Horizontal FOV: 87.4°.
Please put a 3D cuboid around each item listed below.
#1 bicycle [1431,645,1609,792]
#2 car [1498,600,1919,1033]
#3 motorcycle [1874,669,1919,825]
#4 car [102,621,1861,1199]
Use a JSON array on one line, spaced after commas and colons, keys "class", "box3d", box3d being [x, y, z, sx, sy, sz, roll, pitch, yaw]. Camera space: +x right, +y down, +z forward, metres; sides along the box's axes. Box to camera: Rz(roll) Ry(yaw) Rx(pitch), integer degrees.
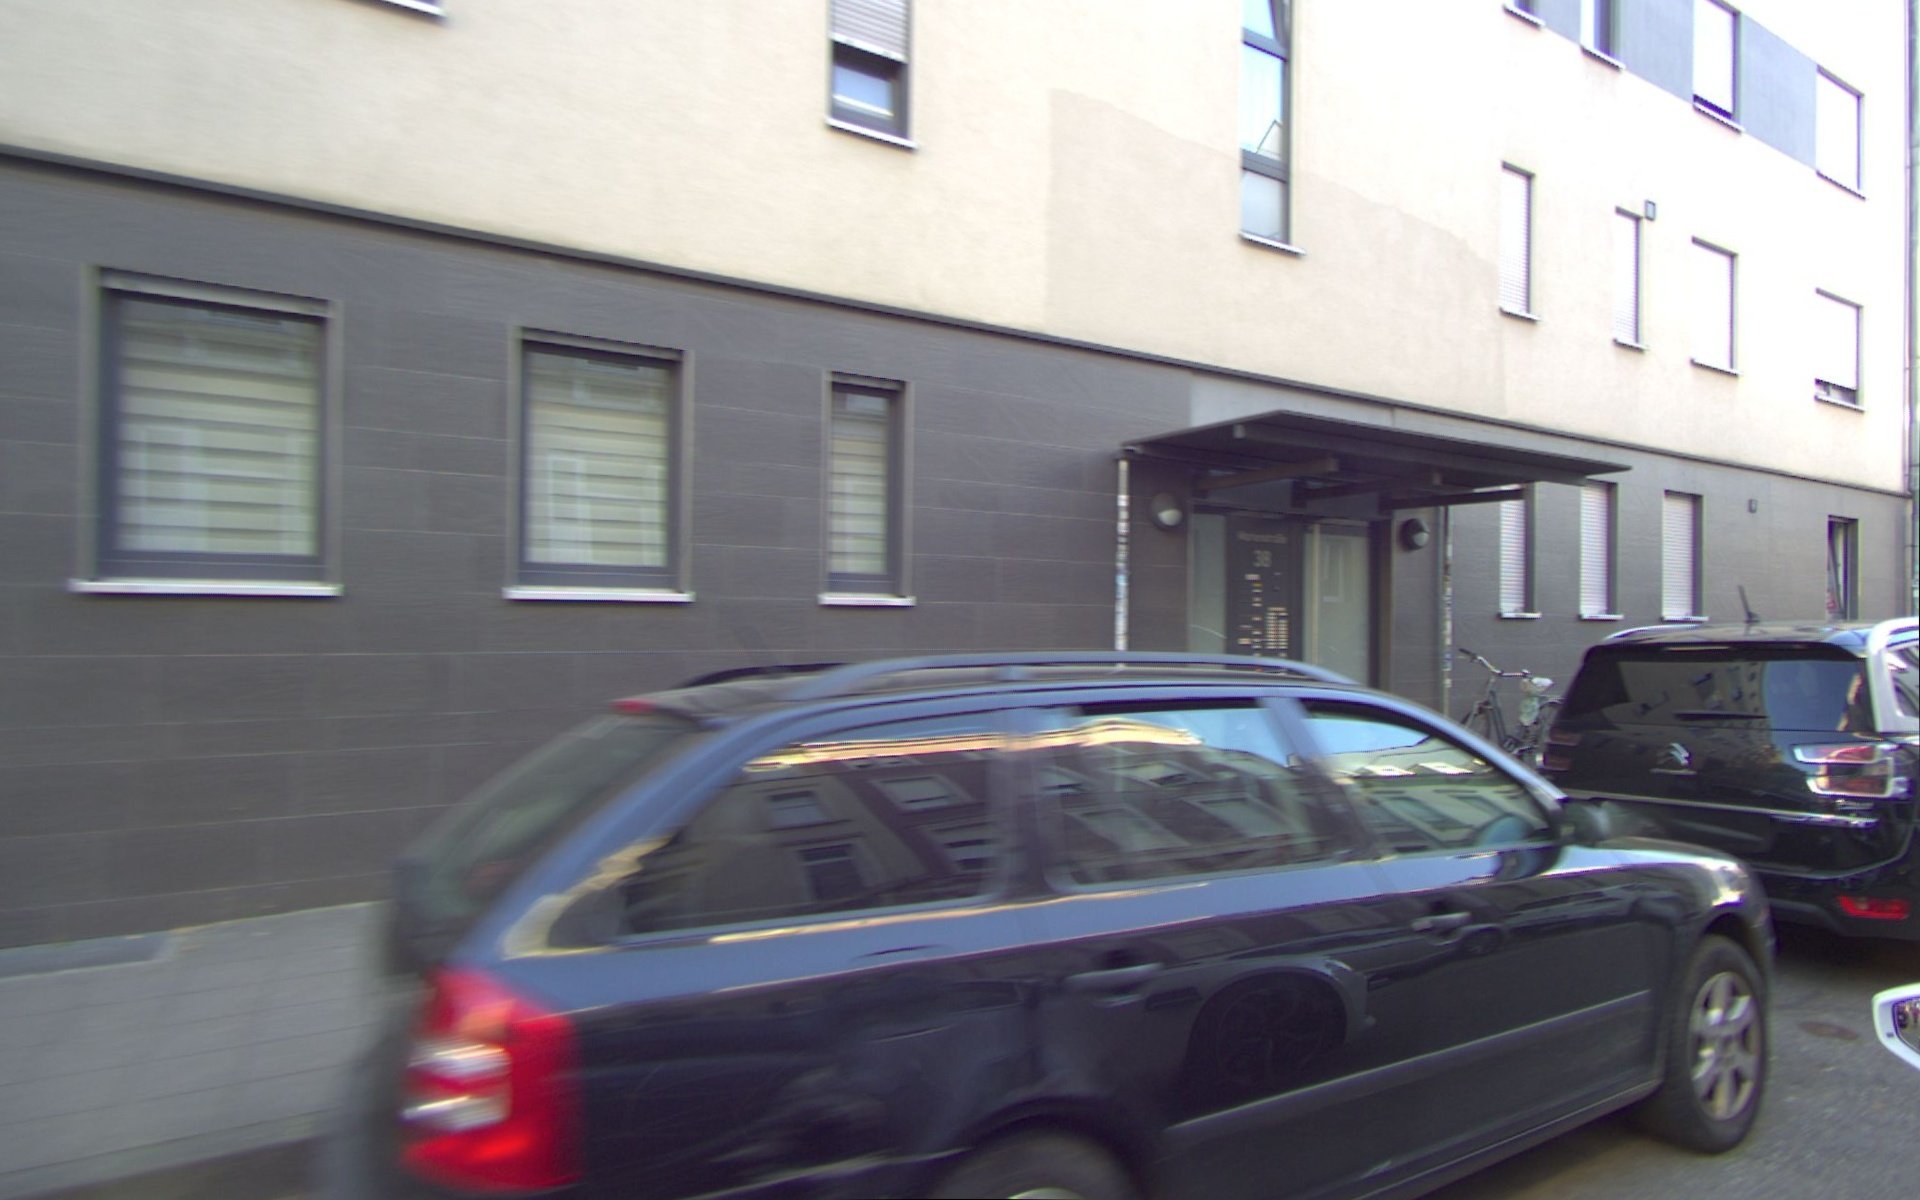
[{"class": "bicycle", "box3d": [4.914, 0.990, 8.791, 1.751, 1.179, 0.488, 1, -3, -29]}, {"class": "car", "box3d": [5.120, 0.901, 5.661, 4.196, 1.672, 1.709, 0, -3, -31]}, {"class": "motorcycle", "box3d": [8.874, 1.195, 8.100, 2.064, 1.269, 0.793, -1, -3, 12]}, {"class": "car", "box3d": [0.594, 0.854, 2.924, 4.446, 1.498, 1.709, 0, -4, -31]}]
